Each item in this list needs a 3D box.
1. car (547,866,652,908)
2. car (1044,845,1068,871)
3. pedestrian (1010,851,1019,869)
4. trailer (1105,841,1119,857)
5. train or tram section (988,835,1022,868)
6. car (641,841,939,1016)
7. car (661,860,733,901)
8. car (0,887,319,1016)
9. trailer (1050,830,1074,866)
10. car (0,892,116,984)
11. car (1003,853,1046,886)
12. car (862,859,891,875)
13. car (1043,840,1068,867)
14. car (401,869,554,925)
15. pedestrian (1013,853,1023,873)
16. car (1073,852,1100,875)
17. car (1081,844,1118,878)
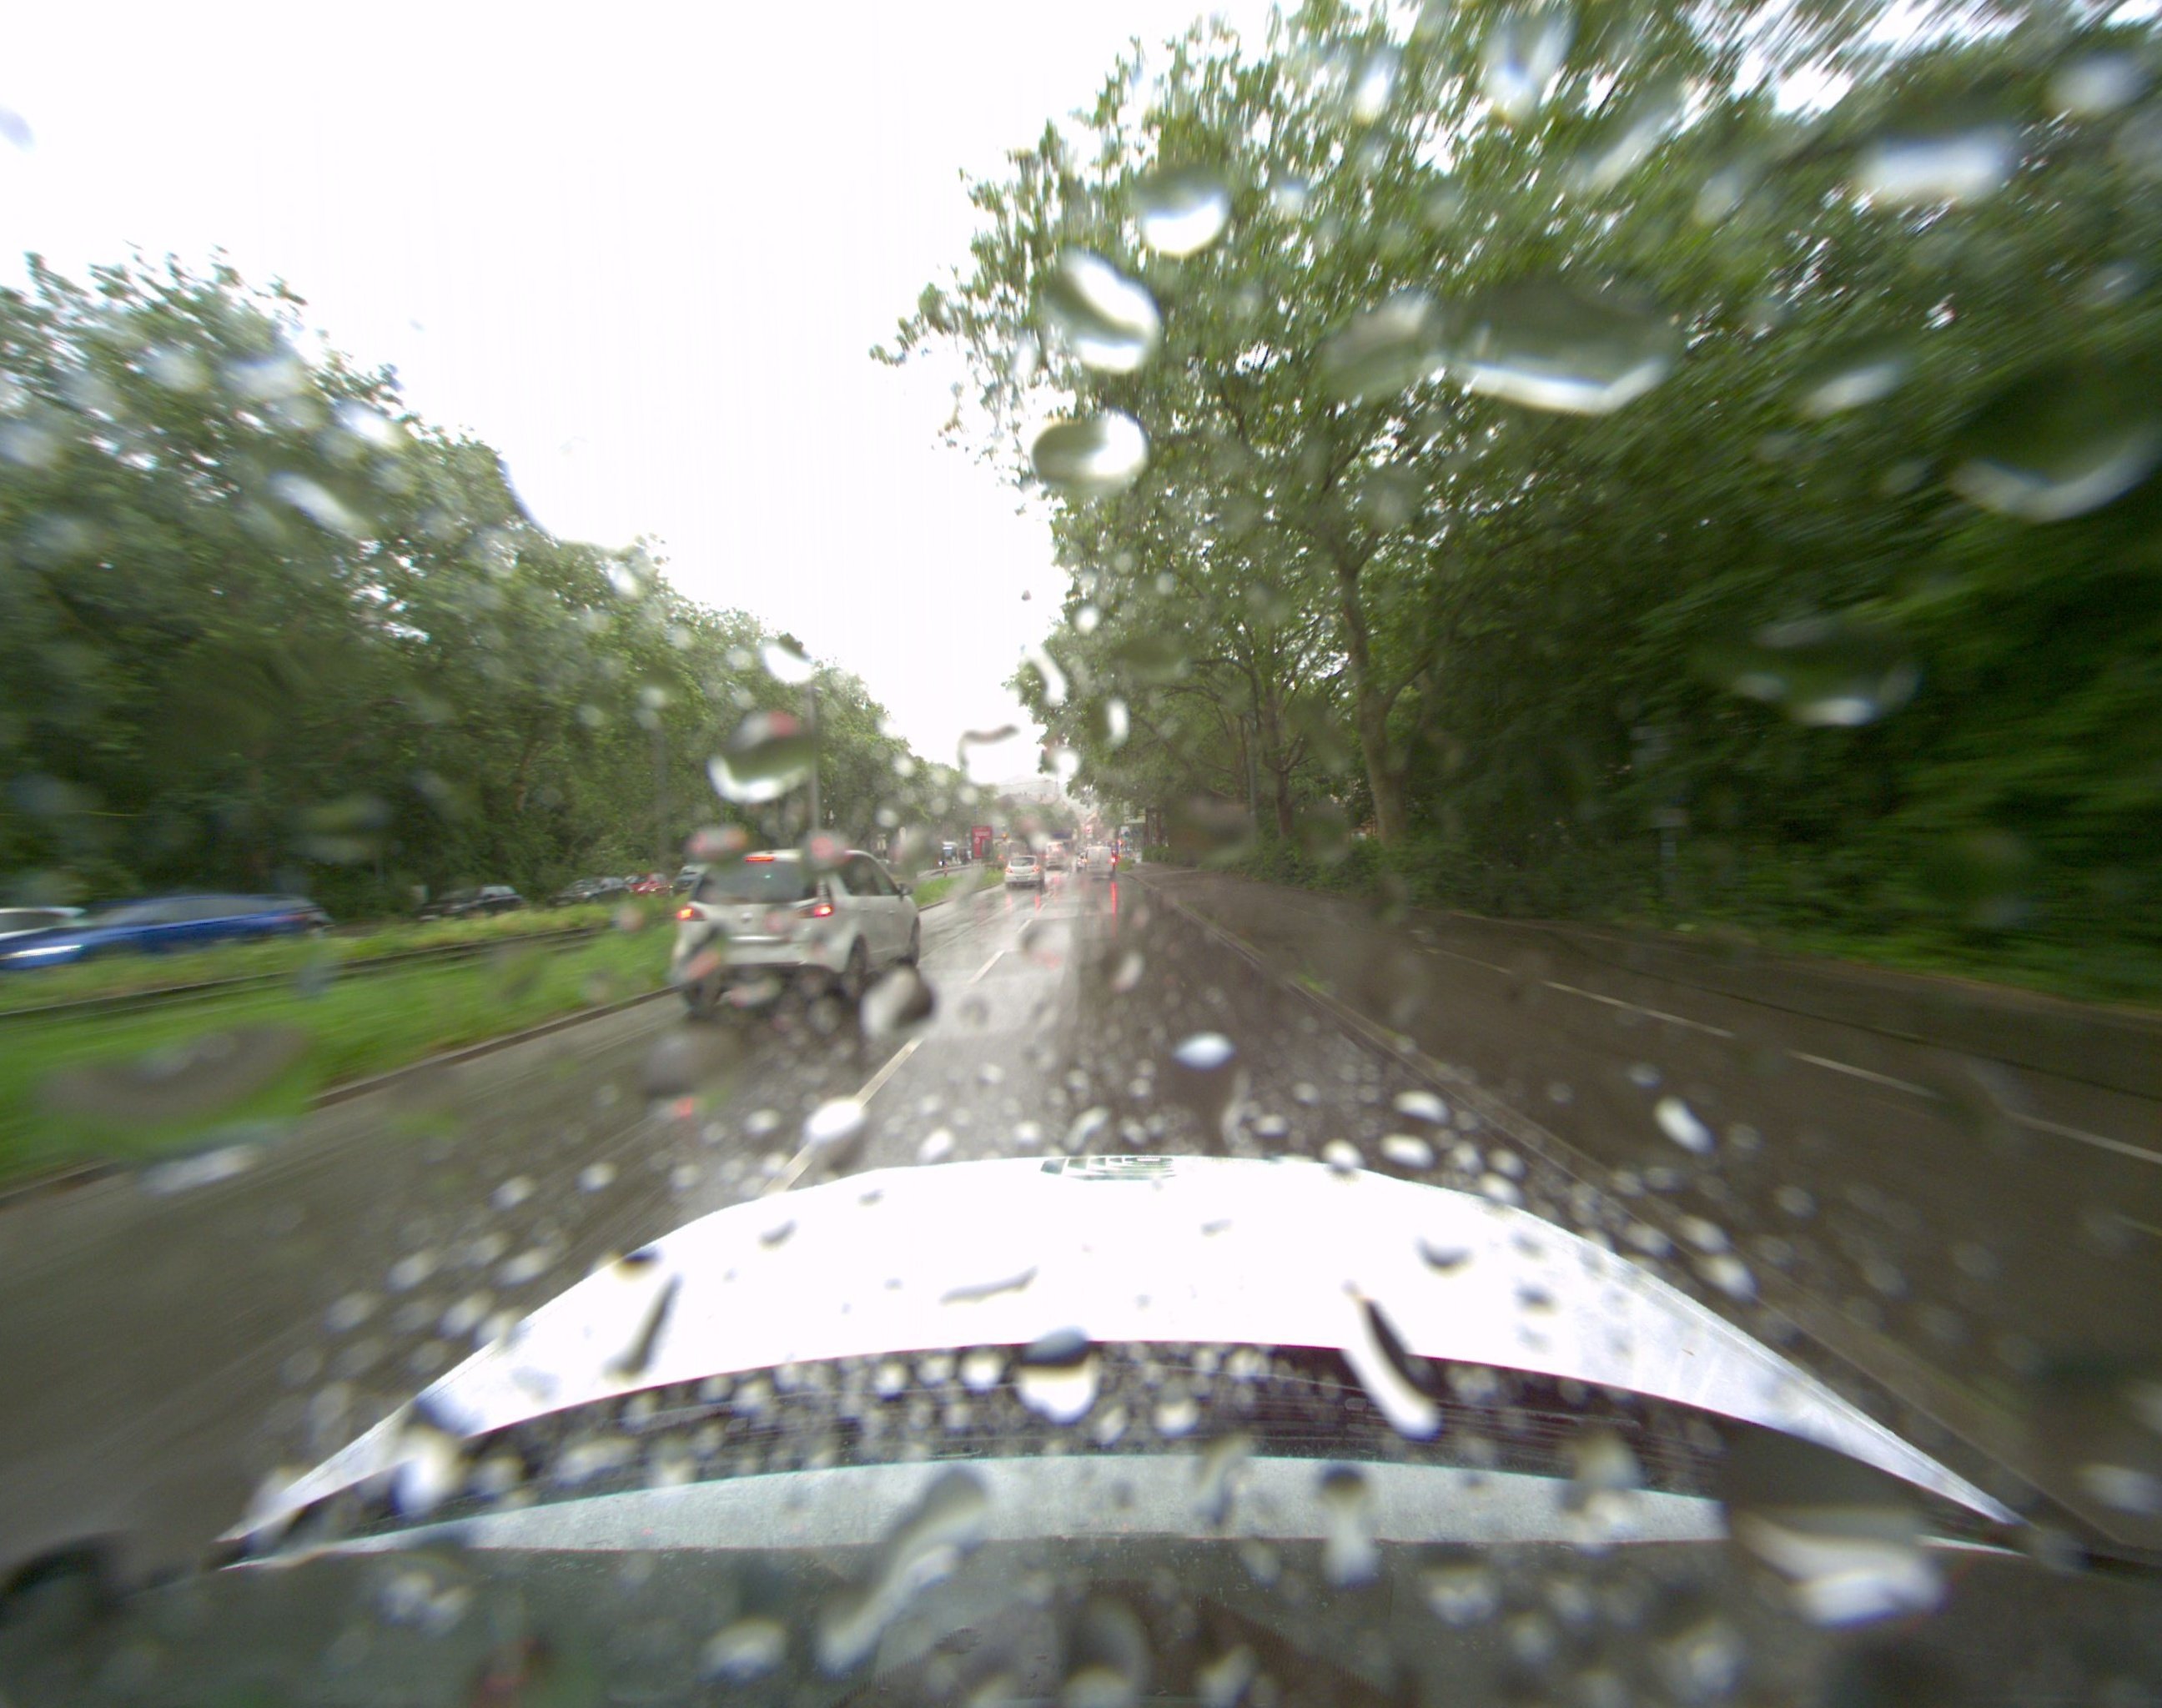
[{"bbox_3d":[-21.261,1.416,36.242,2.026,1.657,4.606,-1,0,-2],"label":"car"},{"bbox_3d":[-2.283,0.376,75.129,1.987,2.262,5.288,-1,-1,0],"label":"car"},{"bbox_3d":[-6.387,0.588,77.847,0.713,1.744,0.750,-2,0,-1],"label":"pedestrian"},{"bbox_3d":[4.929,-0.802,130.536,1.988,2.317,4.665,-1,-1,-1],"label":"trailer"},{"bbox_3d":[-8.479,-0.349,91.374,2.952,3.285,8.358,-3,1,-1],"label":"train or tram section"},{"bbox_3d":[-3.128,0.712,9.823,1.857,1.623,4.265,-1,0,2],"label":"car"},{"bbox_3d":[-21.948,1.458,46.782,2.028,2.093,4.797,-4,0,-4],"label":"car"},{"bbox_3d":[-16.948,1.623,14.665,2.026,1.751,4.690,-4,0,-2],"label":"car"},{"bbox_3d":[-2.141,-0.694,92.795,2.583,3.899,7.632,-1,0,-1],"label":"trailer"},{"bbox_3d":[-21.235,1.666,15.241,1.756,1.648,3.810,-4,0,-2],"label":"car"},{"bbox_3d":[-2.657,0.723,39.023,1.720,1.479,3.805,-1,-1,0],"label":"car"},{"bbox_3d":[-21.682,1.318,86.415,1.927,1.517,4.000,-3,0,1],"label":"car"},{"bbox_3d":[-2.583,-0.002,83.631,2.322,2.557,6.113,-1,-1,0],"label":"car"},{"bbox_3d":[-21.036,1.433,28.686,2.026,1.657,4.606,-2,0,-2],"label":"car"},{"bbox_3d":[-5.434,0.785,70.626,0.788,1.714,0.770,0,-1,-1],"label":"pedestrian"},{"bbox_3d":[0.436,0.714,61.719,1.901,1.618,4.001,-1,-1,2],"label":"car"},{"bbox_3d":[1.023,0.390,45.603,1.953,1.777,3.569,-1,-1,0],"label":"car"}]
